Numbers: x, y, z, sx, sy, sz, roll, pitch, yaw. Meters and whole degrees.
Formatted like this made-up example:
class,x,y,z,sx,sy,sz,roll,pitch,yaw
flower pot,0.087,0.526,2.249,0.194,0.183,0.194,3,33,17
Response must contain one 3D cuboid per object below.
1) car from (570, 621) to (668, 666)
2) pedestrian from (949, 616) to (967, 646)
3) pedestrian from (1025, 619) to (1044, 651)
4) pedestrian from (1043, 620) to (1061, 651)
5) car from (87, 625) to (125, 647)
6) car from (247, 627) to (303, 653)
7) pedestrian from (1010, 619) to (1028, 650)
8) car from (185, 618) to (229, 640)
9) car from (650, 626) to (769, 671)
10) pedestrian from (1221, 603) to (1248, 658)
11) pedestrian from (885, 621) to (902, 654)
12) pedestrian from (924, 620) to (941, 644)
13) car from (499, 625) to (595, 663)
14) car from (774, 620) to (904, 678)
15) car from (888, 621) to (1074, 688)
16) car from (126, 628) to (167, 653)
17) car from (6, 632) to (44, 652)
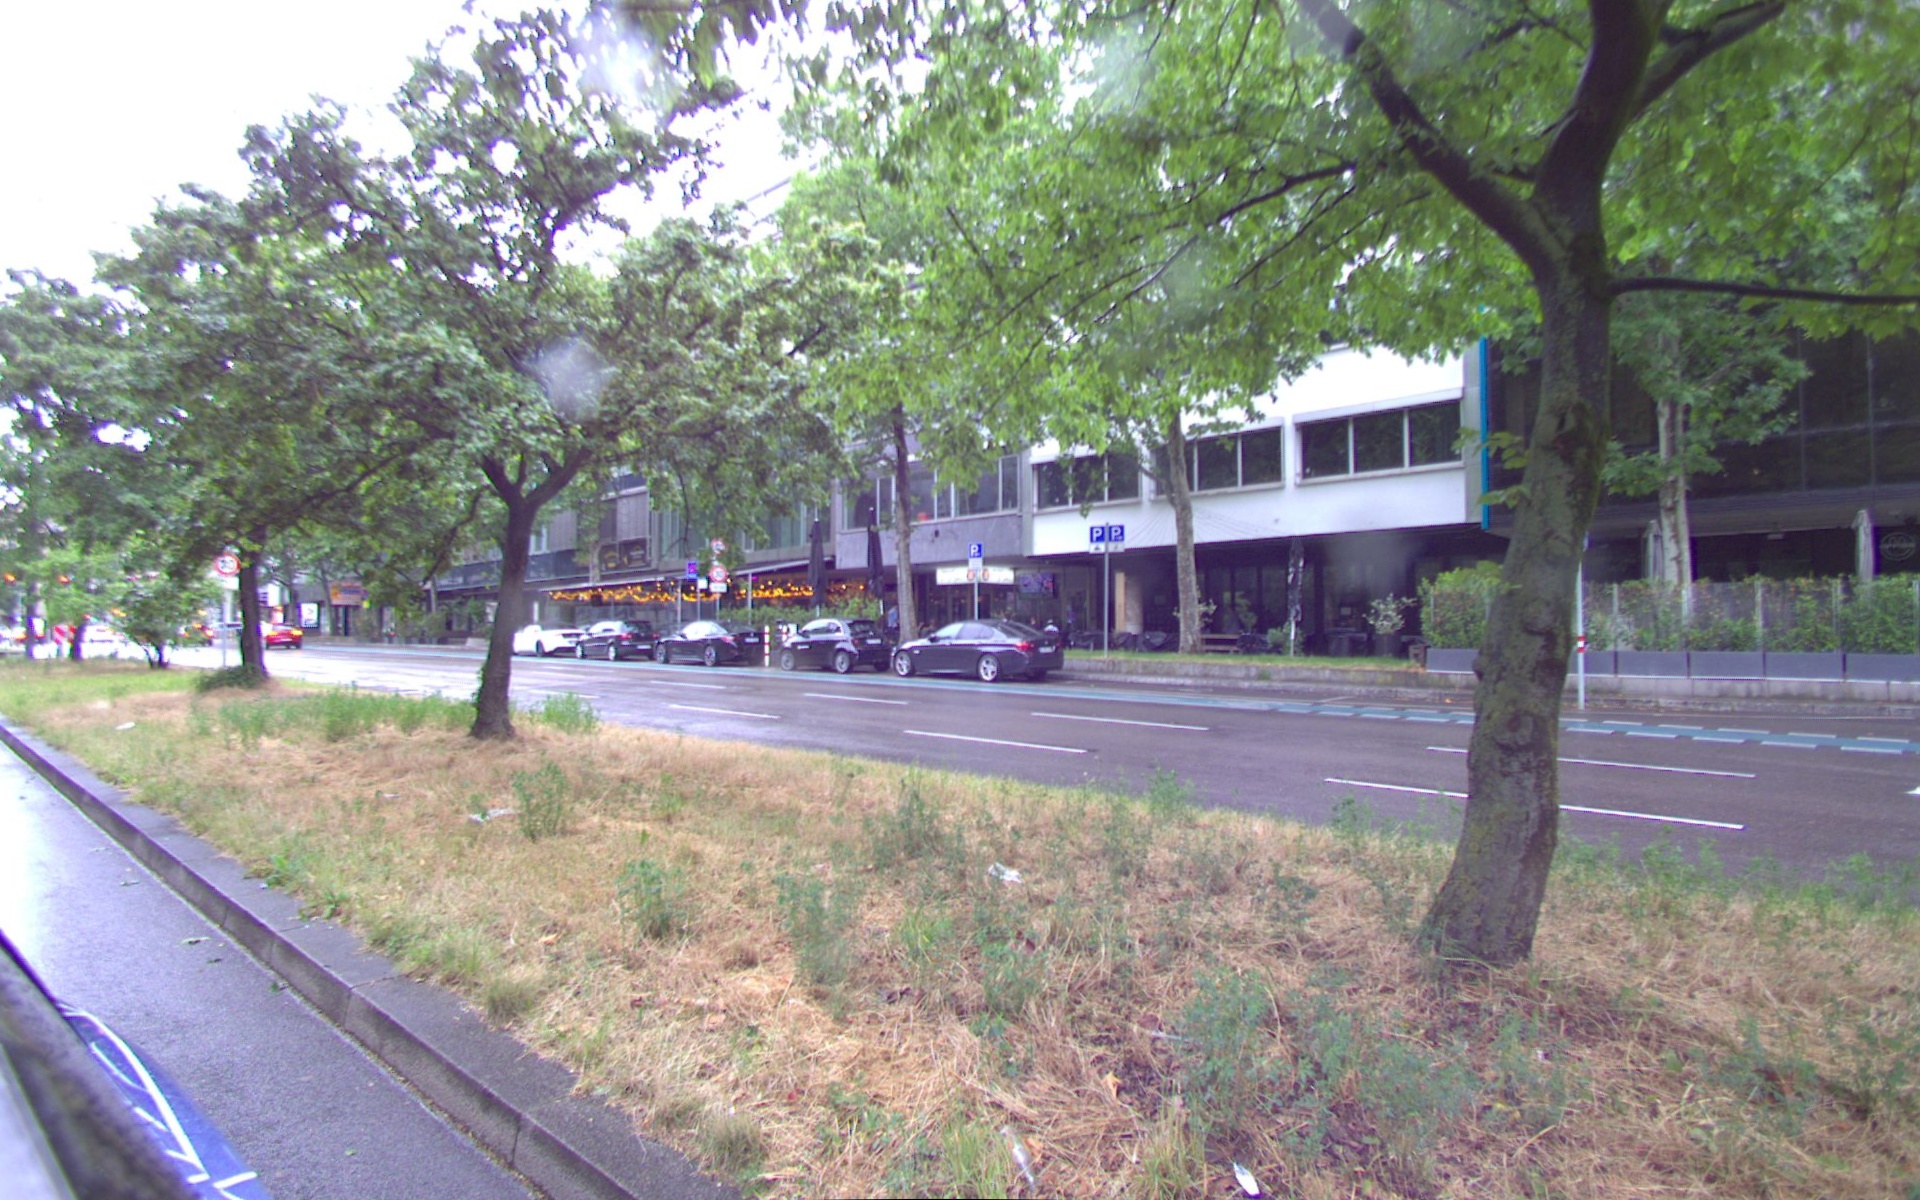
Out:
class,x,y,z,sx,sy,sz,roll,pitch,yaw
car,-12.311,1.536,36.433,3.788,1.464,1.727,0,0,42
pedestrian,-0.072,1.067,35.431,0.423,1.024,0.459,-1,0,39
pedestrian,2.454,1.139,33.213,0.488,1.008,0.481,-1,0,26
pedestrian,2.996,1.152,32.921,0.451,0.970,0.454,-1,0,26
car,-76.740,3.221,90.907,3.997,1.829,1.973,0,0,41
car,-38.235,2.217,56.486,3.737,1.335,1.742,0,0,42
pedestrian,1.950,1.135,33.498,0.461,1.000,0.455,-1,0,26
car,-52.153,1.971,70.091,4.106,1.427,1.843,0,0,44
car,-8.087,1.494,32.427,4.319,1.249,1.625,0,0,44
pedestrian,8.475,0.939,31.227,0.623,1.660,0.598,-1,0,37
pedestrian,-2.459,1.368,37.405,0.467,1.195,0.439,-1,0,42
pedestrian,-0.990,1.145,36.459,0.433,0.856,0.435,-1,0,39
car,-16.516,1.717,40.402,4.392,1.336,1.856,0,0,42
car,-3.417,1.318,28.332,3.400,1.433,1.851,0,0,42
car,0.435,1.250,24.744,1.849,1.396,4.539,-1,0,-45
car,-63.843,3.120,79.390,3.954,1.799,1.913,0,0,42
car,-71.913,3.213,77.863,3.524,1.400,1.657,0,0,39
